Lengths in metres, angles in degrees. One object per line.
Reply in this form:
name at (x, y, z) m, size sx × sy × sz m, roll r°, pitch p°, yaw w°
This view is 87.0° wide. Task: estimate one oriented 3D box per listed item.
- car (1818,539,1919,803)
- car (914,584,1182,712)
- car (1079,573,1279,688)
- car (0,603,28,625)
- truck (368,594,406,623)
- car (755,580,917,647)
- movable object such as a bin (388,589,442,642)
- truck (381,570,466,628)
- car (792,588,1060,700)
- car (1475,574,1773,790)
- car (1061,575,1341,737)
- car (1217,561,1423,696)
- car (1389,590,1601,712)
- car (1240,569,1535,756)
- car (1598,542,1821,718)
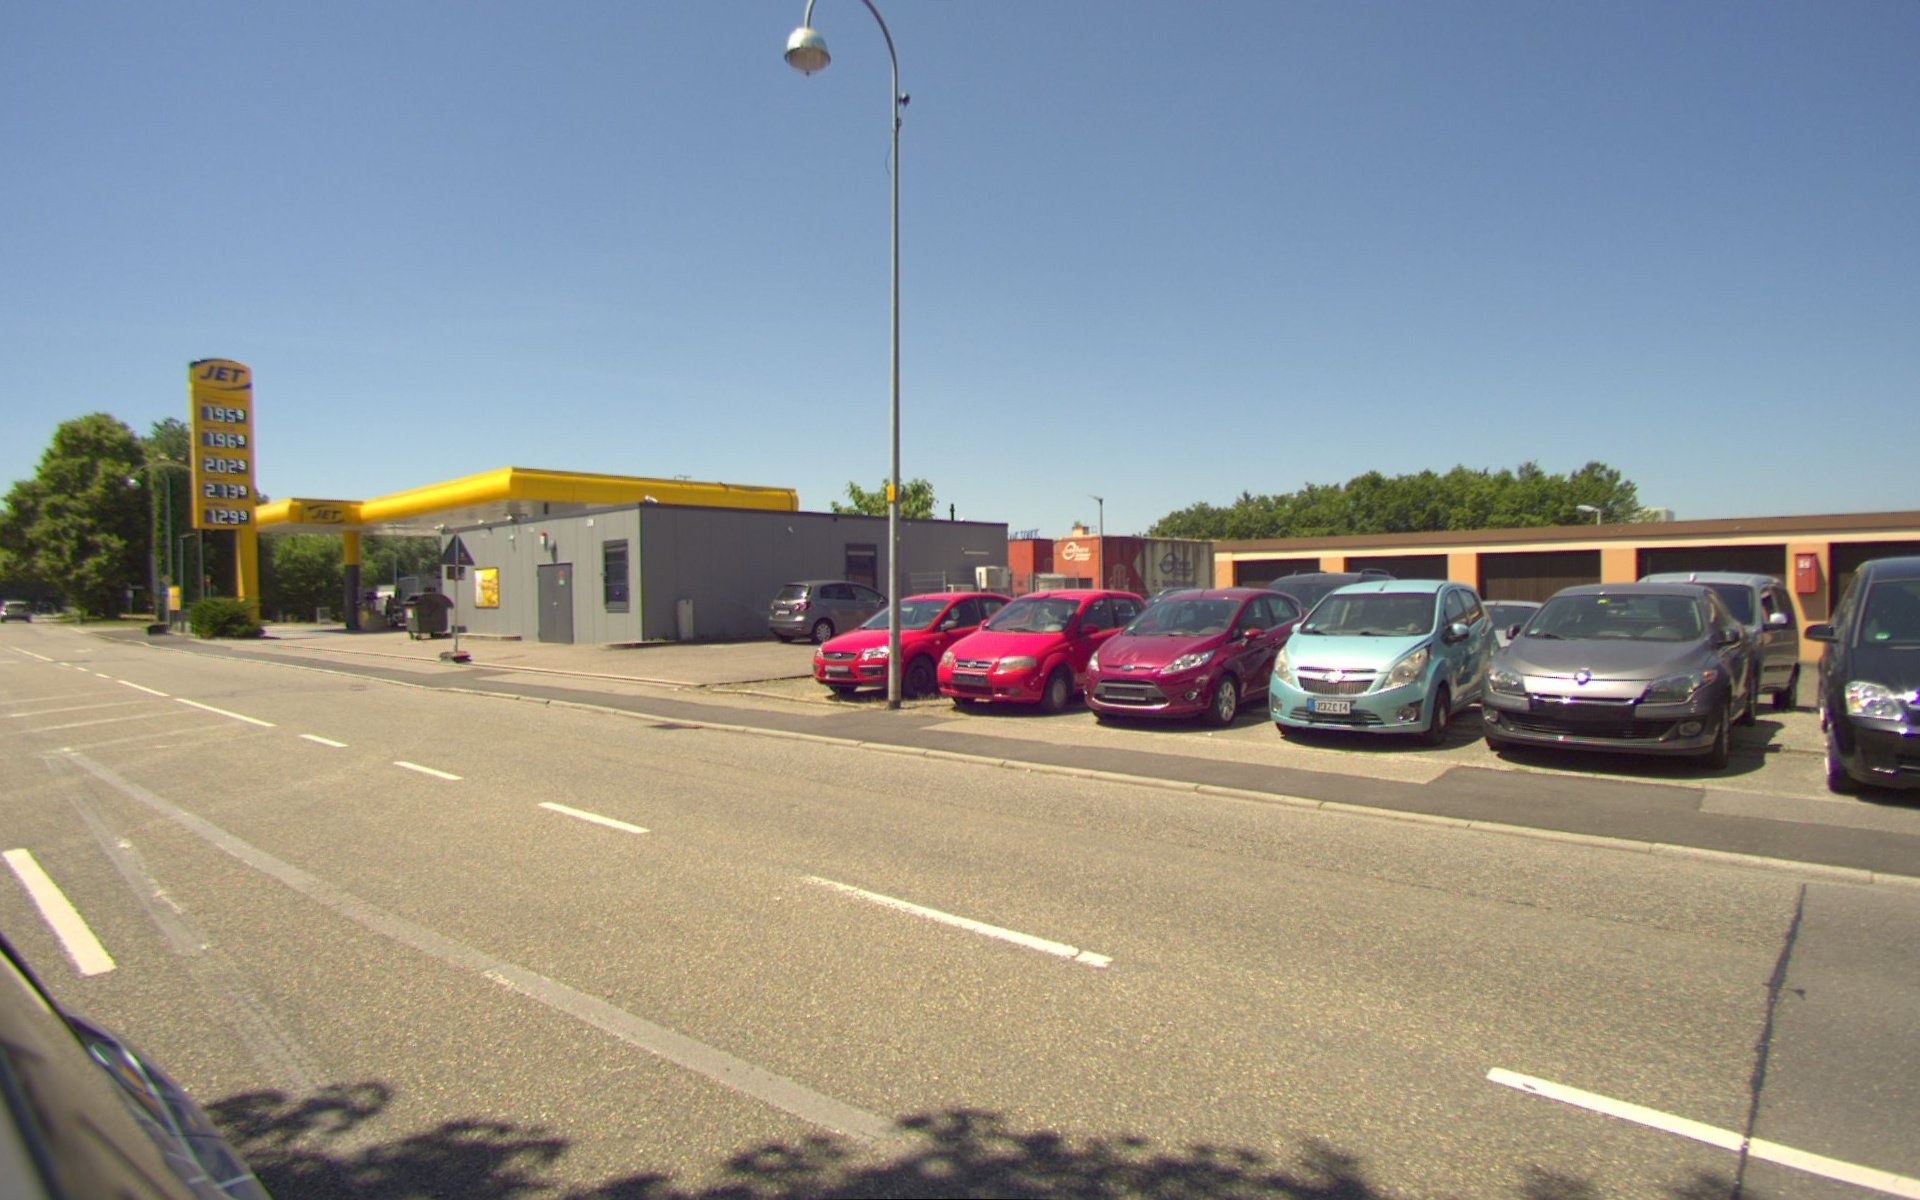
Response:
car at (7.680, 0.426, 7.507) m, size 1.920 × 1.685 × 3.627 m, roll 0°, pitch 1°, yaw 39°
car at (1.293, 0.529, 13.648) m, size 1.891 × 1.468 × 3.627 m, roll 0°, pitch 1°, yaw 39°
car at (3.779, 0.428, 17.083) m, size 1.890 × 1.722 × 3.628 m, roll 0°, pitch 1°, yaw 39°
car at (-75.143, 1.147, 80.128) m, size 1.945 × 1.685 × 4.253 m, roll 0°, pitch -1°, yaw -42°
truck at (-60.819, 0.918, 107.313) m, size 2.402 × 2.950 × 8.181 m, roll -2°, pitch 1°, yaw -38°
car at (-3.158, 0.299, 26.284) m, size 1.755 × 1.596 × 3.942 m, roll 0°, pitch 1°, yaw 44°
movable object such as a bin at (-17.173, 0.491, 31.885) m, size 1.428 × 1.528 × 0.942 m, roll -2°, pitch 3°, yaw 43°
truck at (-25.985, -0.063, 48.871) m, size 2.206 × 2.618 × 6.743 m, roll -1°, pitch 1°, yaw -40°
car at (-0.398, 0.565, 15.501) m, size 1.826 × 1.455 × 4.083 m, roll 0°, pitch 1°, yaw 41°
car at (6.182, 0.558, 9.239) m, size 1.920 × 1.543 × 3.627 m, roll 0°, pitch 1°, yaw 39°
car at (3.005, 0.534, 12.141) m, size 1.880 × 1.617 × 3.627 m, roll 0°, pitch 1°, yaw 39°
car at (5.681, 0.357, 15.732) m, size 1.857 × 1.819 × 3.811 m, roll 0°, pitch 1°, yaw 39°
car at (7.451, 0.583, 13.940) m, size 1.920 × 1.413 × 3.627 m, roll 0°, pitch 1°, yaw 39°
car at (4.614, 0.510, 10.648) m, size 1.920 × 1.593 × 3.627 m, roll 0°, pitch 1°, yaw 39°
car at (9.129, 0.281, 12.287) m, size 1.920 × 1.789 × 3.627 m, roll 0°, pitch 1°, yaw 39°
